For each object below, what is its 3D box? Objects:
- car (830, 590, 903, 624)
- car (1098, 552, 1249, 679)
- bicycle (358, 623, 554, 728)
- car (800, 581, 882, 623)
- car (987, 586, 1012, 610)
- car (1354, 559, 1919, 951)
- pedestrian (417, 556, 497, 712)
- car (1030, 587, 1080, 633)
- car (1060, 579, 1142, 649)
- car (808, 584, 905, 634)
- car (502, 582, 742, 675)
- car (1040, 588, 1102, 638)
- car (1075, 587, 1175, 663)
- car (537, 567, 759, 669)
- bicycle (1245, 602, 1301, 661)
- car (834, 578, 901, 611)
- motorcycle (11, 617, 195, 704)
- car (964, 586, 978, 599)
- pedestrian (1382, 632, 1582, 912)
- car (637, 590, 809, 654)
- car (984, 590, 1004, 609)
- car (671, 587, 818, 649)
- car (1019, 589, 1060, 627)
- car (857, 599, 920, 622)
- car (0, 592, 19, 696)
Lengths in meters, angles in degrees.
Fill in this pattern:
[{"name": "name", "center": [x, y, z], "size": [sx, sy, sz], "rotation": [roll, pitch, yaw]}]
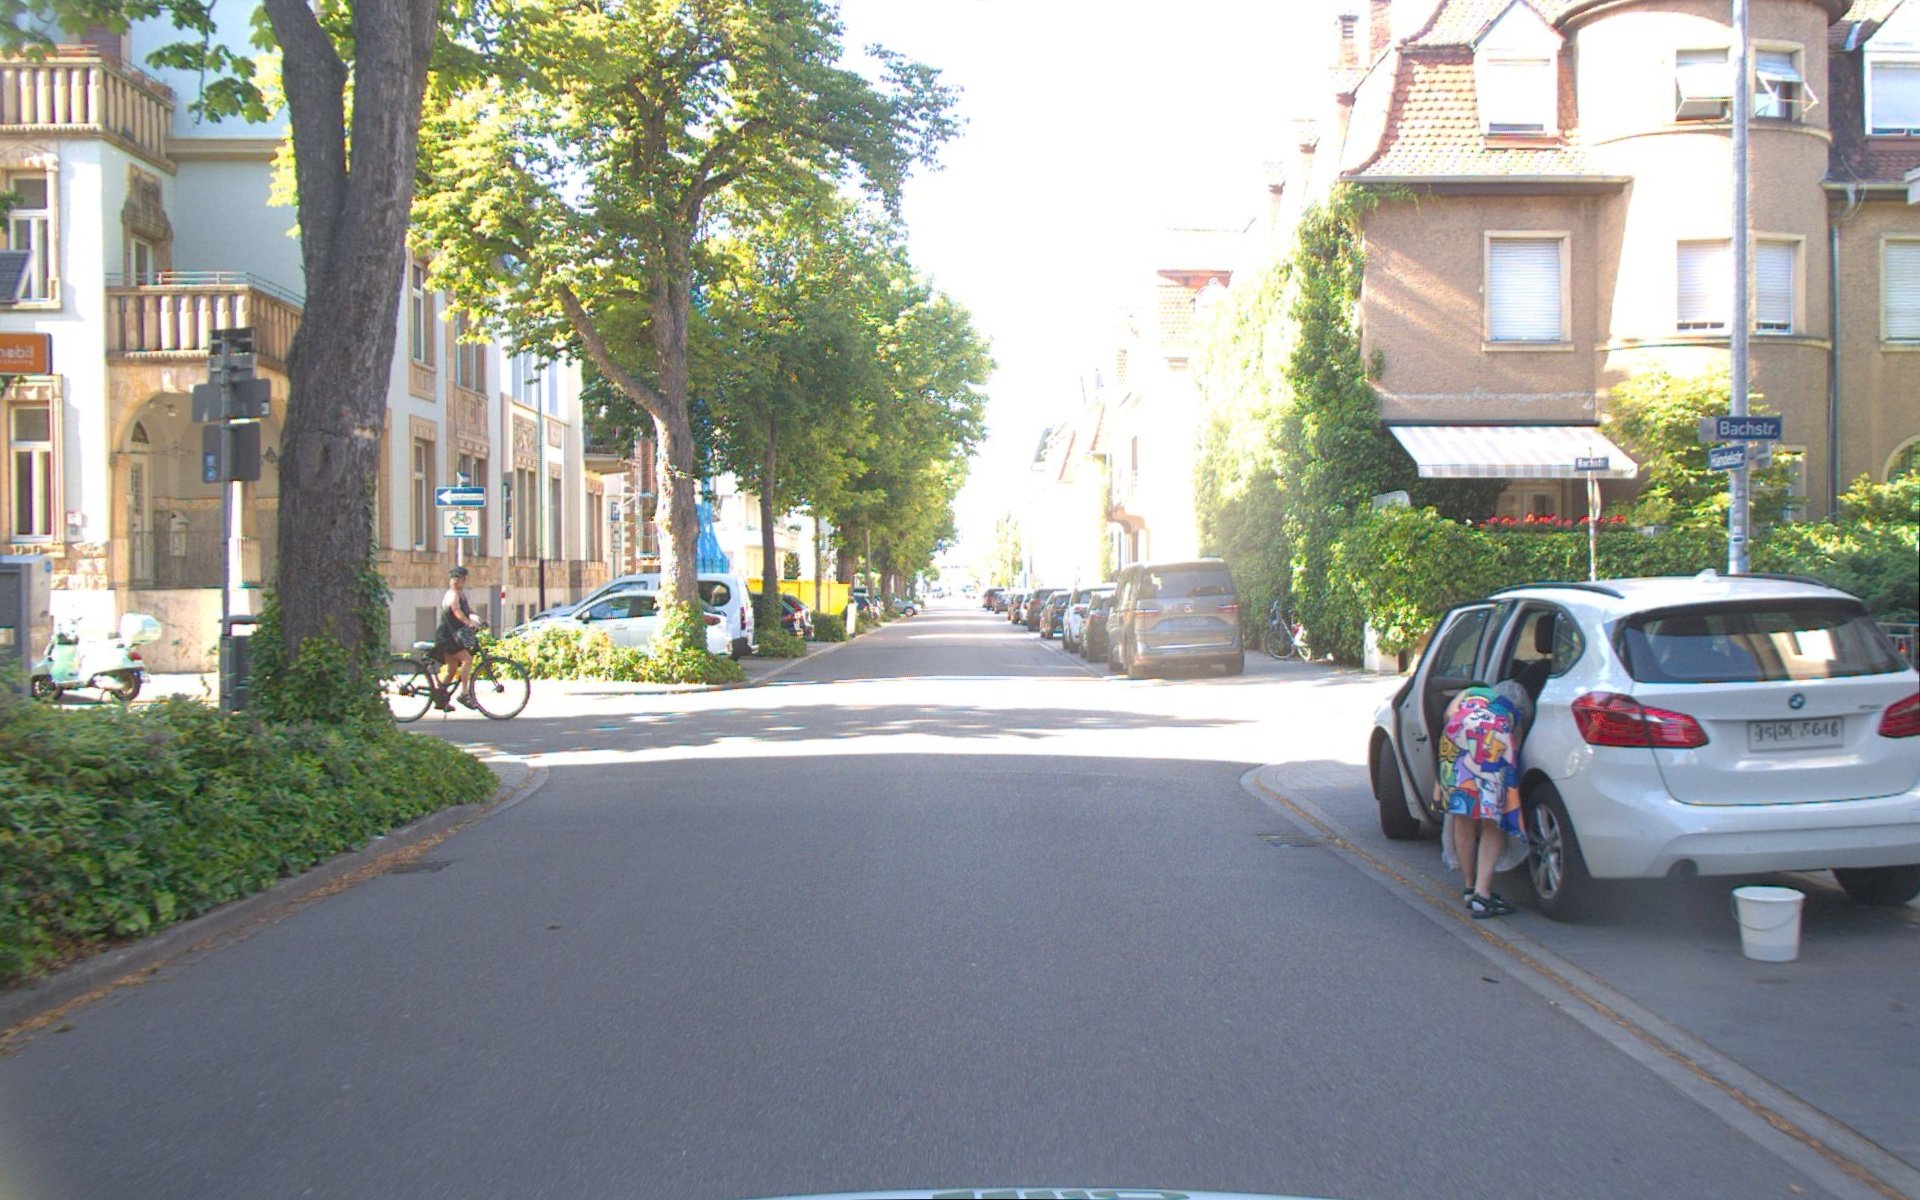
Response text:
[{"name": "car", "center": [-5.260, 0.399, 93.683], "size": [3.923, 1.765, 1.895], "rotation": [2, 1, 2]}, {"name": "car", "center": [3.563, 0.221, 28.389], "size": [1.866, 1.903, 4.673], "rotation": [-3, 0, 0]}, {"name": "bicycle", "center": [-5.724, 0.848, 18.860], "size": [1.949, 1.084, 0.760], "rotation": [-2, 1, 3]}, {"name": "car", "center": [-5.943, 0.090, 82.311], "size": [3.913, 2.049, 1.996], "rotation": [-1, 0, -9]}, {"name": "car", "center": [2.782, -0.173, 117.597], "size": [1.734, 1.660, 3.866], "rotation": [0, 0, 1]}, {"name": "car", "center": [3.571, 0.631, 9.015], "size": [1.665, 1.566, 4.154], "rotation": [-3, 0, -2]}, {"name": "pedestrian", "center": [-5.726, 0.373, 18.856], "size": [0.617, 1.724, 0.652], "rotation": [-2, 1, 3]}, {"name": "car", "center": [3.575, 0.360, 63.072], "size": [1.734, 1.660, 3.866], "rotation": [0, 0, 1]}, {"name": "car", "center": [3.428, 0.312, 40.786], "size": [1.752, 1.646, 3.866], "rotation": [0, 0, 1]}, {"name": "car", "center": [-4.376, 0.390, 69.570], "size": [3.913, 2.049, 1.996], "rotation": [-1, -1, -9]}, {"name": "car", "center": [-5.926, 0.502, 29.348], "size": [3.908, 1.490, 1.796], "rotation": [2, -1, -4]}, {"name": "car", "center": [3.469, 0.387, 52.171], "size": [1.734, 1.480, 3.866], "rotation": [0, 0, 1]}, {"name": "car", "center": [3.440, 0.477, 35.078], "size": [1.656, 1.423, 3.805], "rotation": [-3, 0, 0]}, {"name": "car", "center": [-5.883, 0.341, 31.566], "size": [3.908, 1.791, 1.796], "rotation": [2, 0, -4]}, {"name": "bicycle", "center": [5.813, 0.564, 30.843], "size": [0.576, 1.041, 2.370], "rotation": [-1, 0, 0]}, {"name": "car", "center": [-5.756, -0.363, 102.869], "size": [3.923, 1.873, 2.001], "rotation": [2, 1, 2]}, {"name": "motorcycle", "center": [-12.056, 0.853, 23.298], "size": [2.164, 1.197, 0.899], "rotation": [-1, -2, 8]}, {"name": "car", "center": [1.425, -1.033, 216.170], "size": [1.734, 1.660, 3.866], "rotation": [0, 0, 1]}, {"name": "pedestrian", "center": [2.546, 0.813, 8.121], "size": [0.710, 1.279, 0.645], "rotation": [-1, 0, -8]}, {"name": "car", "center": [-5.762, 0.519, 40.590], "size": [3.904, 1.495, 1.864], "rotation": [0, 1, 1]}, {"name": "car", "center": [3.013, -0.071, 146.044], "size": [1.734, 1.660, 3.866], "rotation": [0, 0, 1]}, {"name": "car", "center": [-5.904, 0.469, 45.342], "size": [3.913, 1.579, 1.834], "rotation": [-1, 1, -9]}, {"name": "car", "center": [3.603, 0.340, 75.491], "size": [1.734, 1.660, 3.866], "rotation": [0, 0, 1]}, {"name": "car", "center": [-4.648, 0.698, 108.385], "size": [3.902, 1.434, 1.703], "rotation": [0, 0, 6]}, {"name": "car", "center": [-15.799, 0.644, 23.046], "size": [4.315, 1.490, 1.802], "rotation": [0, 0, 0]}]
